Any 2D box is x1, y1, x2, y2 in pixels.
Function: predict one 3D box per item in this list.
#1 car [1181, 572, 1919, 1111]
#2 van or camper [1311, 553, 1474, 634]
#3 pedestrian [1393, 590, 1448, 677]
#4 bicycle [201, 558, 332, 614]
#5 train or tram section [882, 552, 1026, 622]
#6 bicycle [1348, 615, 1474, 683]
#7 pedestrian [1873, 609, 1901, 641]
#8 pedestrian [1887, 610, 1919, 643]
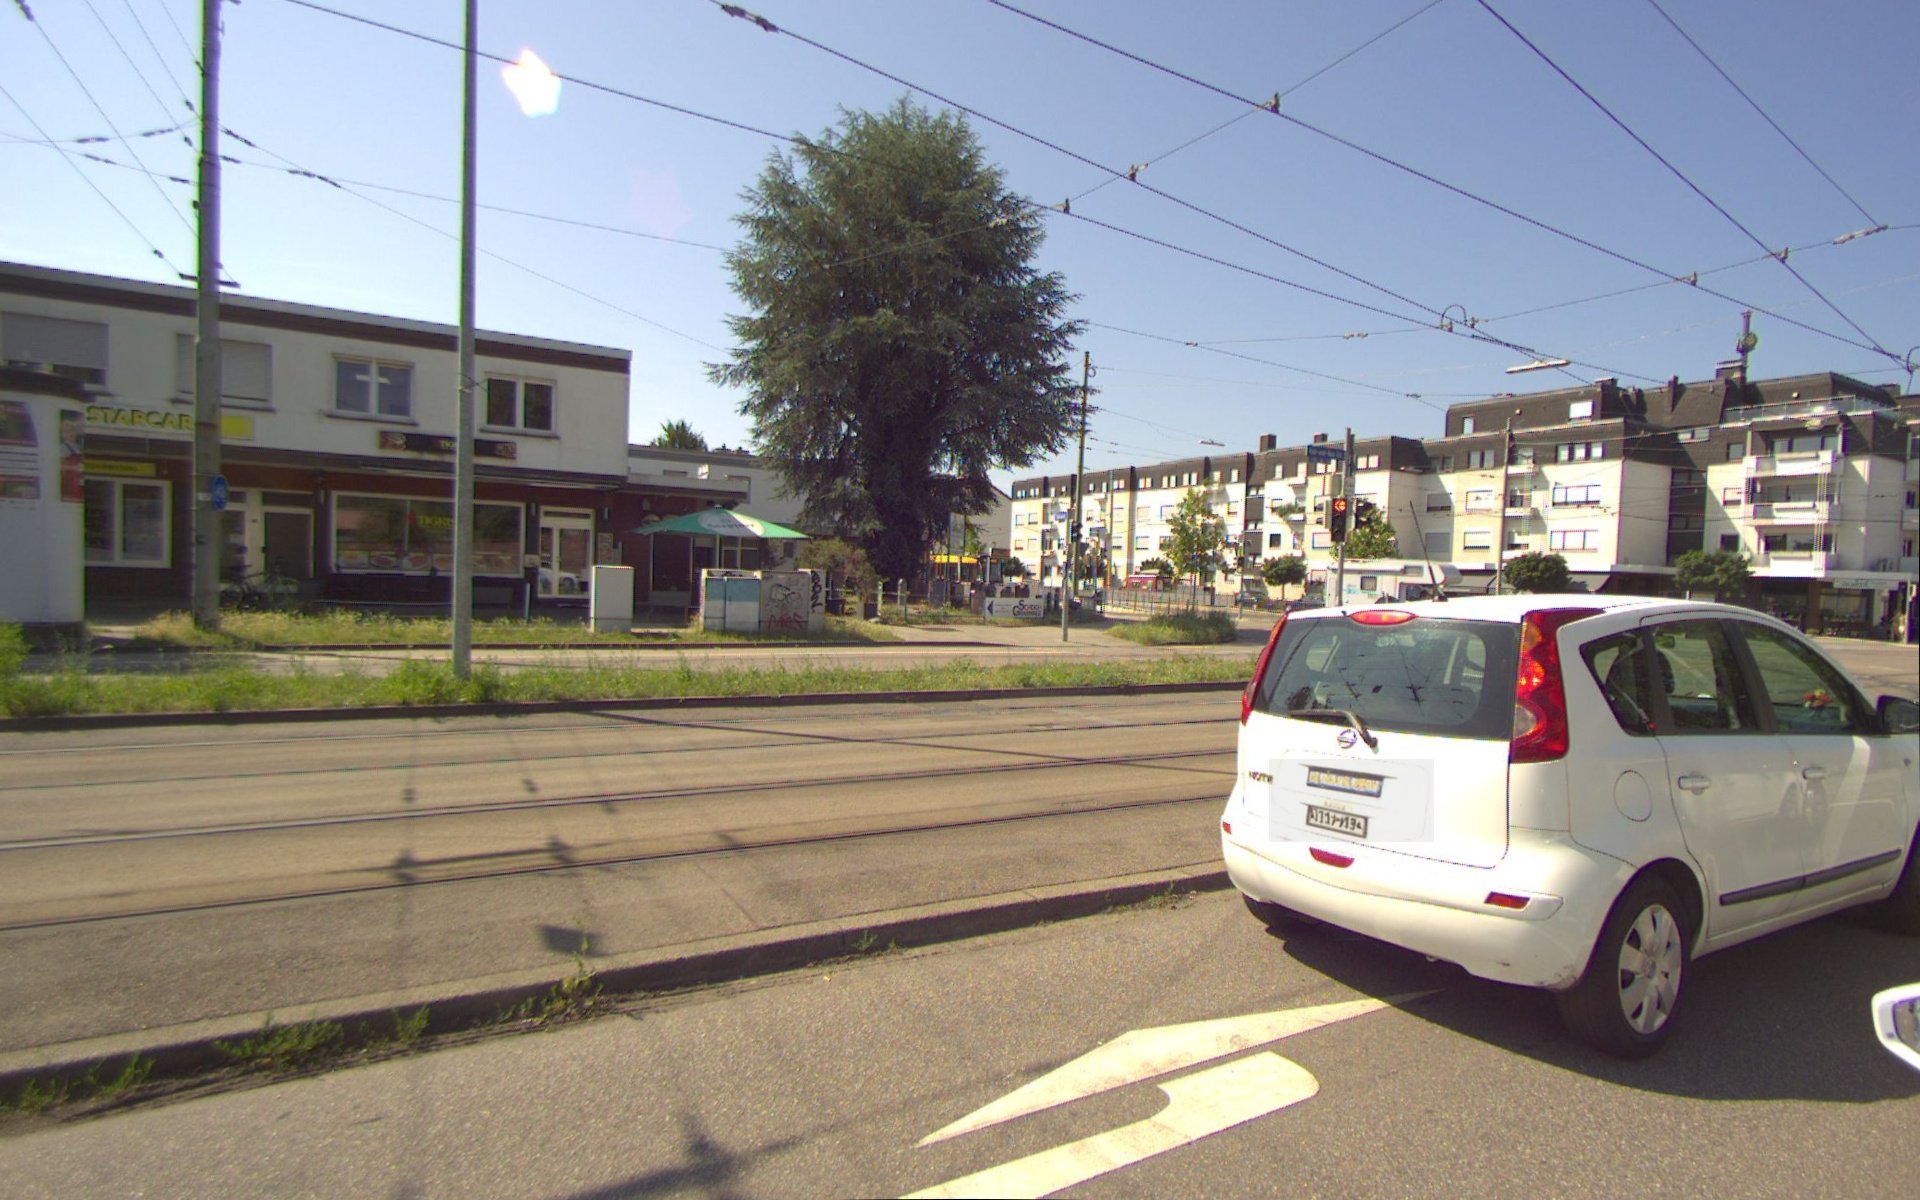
[{"bbox_3d":[2.989,0.718,4.625,3.759,1.587,1.634,0,0,-31],"label":"car"},{"bbox_3d":[17.825,-0.253,41.618,5.625,3.133,2.560,1,-1,45],"label":"van or camper"},{"bbox_3d":[8.718,0.620,19.030,0.671,1.592,0.738,1,0,-45],"label":"pedestrian"},{"bbox_3d":[-15.372,-0.294,22.350,2.306,1.167,0.783,2,-1,-30],"label":"bicycle"},{"bbox_3d":[-0.935,-0.998,85.263,4.681,5.217,16.122,2,-1,-30],"label":"train or tram section"},{"bbox_3d":[8.354,0.884,18.688,0.705,1.105,1.999,1,2,-44],"label":"bicycle"},{"bbox_3d":[51.924,1.385,56.258,0.957,1.766,0.863,1,-1,28],"label":"pedestrian"},{"bbox_3d":[51.856,1.431,55.219,0.955,1.766,0.865,2,-1,12],"label":"pedestrian"}]
